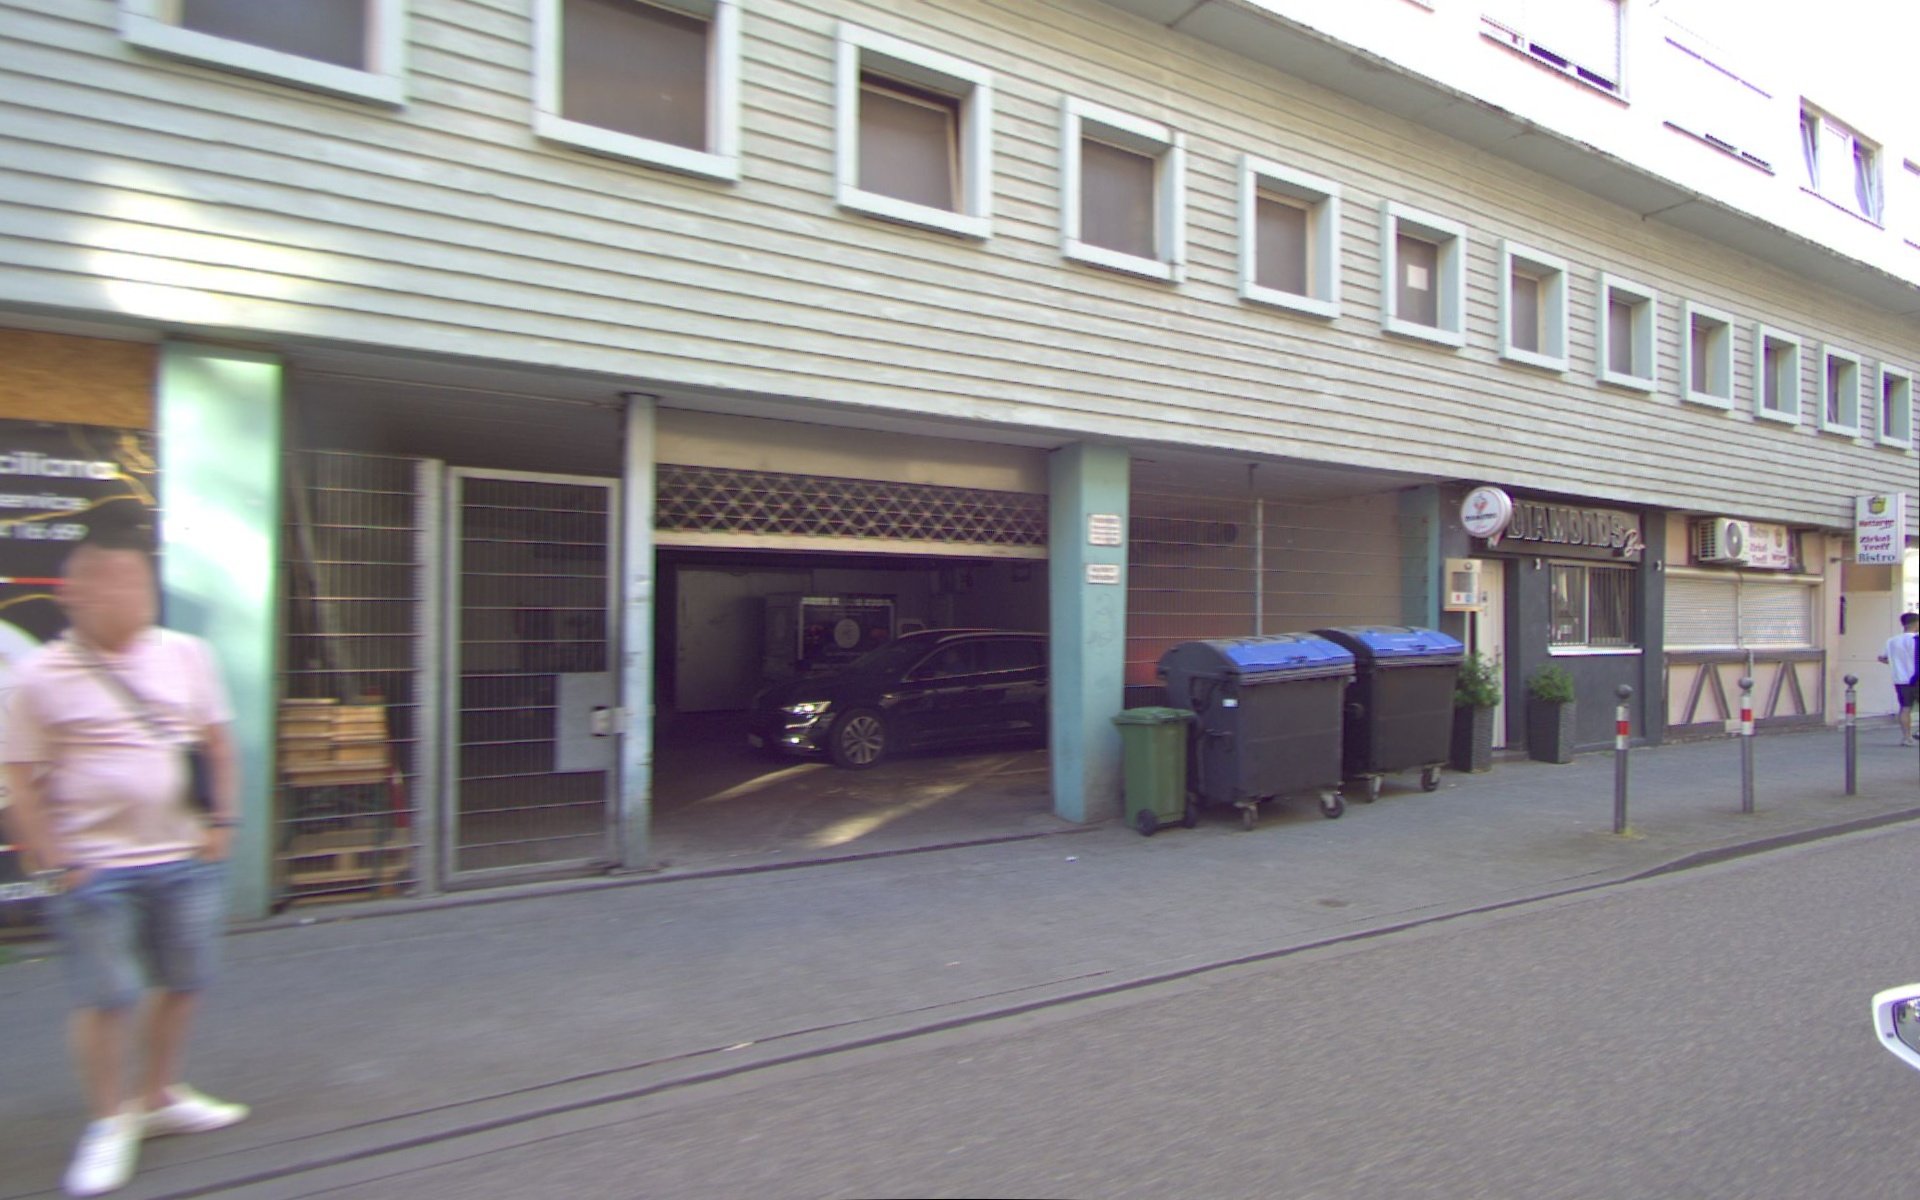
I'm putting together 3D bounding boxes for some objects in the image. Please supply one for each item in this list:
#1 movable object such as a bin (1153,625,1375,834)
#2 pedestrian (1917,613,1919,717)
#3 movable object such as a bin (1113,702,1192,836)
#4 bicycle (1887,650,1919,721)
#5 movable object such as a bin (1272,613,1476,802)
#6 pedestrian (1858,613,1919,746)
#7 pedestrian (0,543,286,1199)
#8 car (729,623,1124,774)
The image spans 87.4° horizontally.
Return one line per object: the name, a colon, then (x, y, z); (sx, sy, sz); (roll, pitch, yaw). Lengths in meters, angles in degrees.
movable object such as a bin: (2.457, 0.969, 8.142); (1.457, 1.491, 0.964); (-1, -1, -30)
pedestrian: (16.493, 1.076, 16.339); (0.787, 1.751, 1.081); (0, -1, -5)
movable object such as a bin: (1.488, 1.287, 7.777); (0.461, 0.954, 0.391); (0, -1, -30)
bicycle: (16.495, 1.421, 16.299); (0.808, 1.178, 2.134); (0, -2, -5)
movable object such as a bin: (3.729, 0.900, 9.086); (1.326, 1.540, 1.117); (0, -1, -30)
pedestrian: (12.524, 1.031, 13.272); (0.883, 1.691, 0.670); (1, -2, -28)
pedestrian: (-2.307, 0.704, 2.814); (0.623, 1.692, 0.487); (1, 1, -42)
car: (-0.336, 1.070, 12.273); (4.546, 1.555, 1.754); (1, -1, -30)
